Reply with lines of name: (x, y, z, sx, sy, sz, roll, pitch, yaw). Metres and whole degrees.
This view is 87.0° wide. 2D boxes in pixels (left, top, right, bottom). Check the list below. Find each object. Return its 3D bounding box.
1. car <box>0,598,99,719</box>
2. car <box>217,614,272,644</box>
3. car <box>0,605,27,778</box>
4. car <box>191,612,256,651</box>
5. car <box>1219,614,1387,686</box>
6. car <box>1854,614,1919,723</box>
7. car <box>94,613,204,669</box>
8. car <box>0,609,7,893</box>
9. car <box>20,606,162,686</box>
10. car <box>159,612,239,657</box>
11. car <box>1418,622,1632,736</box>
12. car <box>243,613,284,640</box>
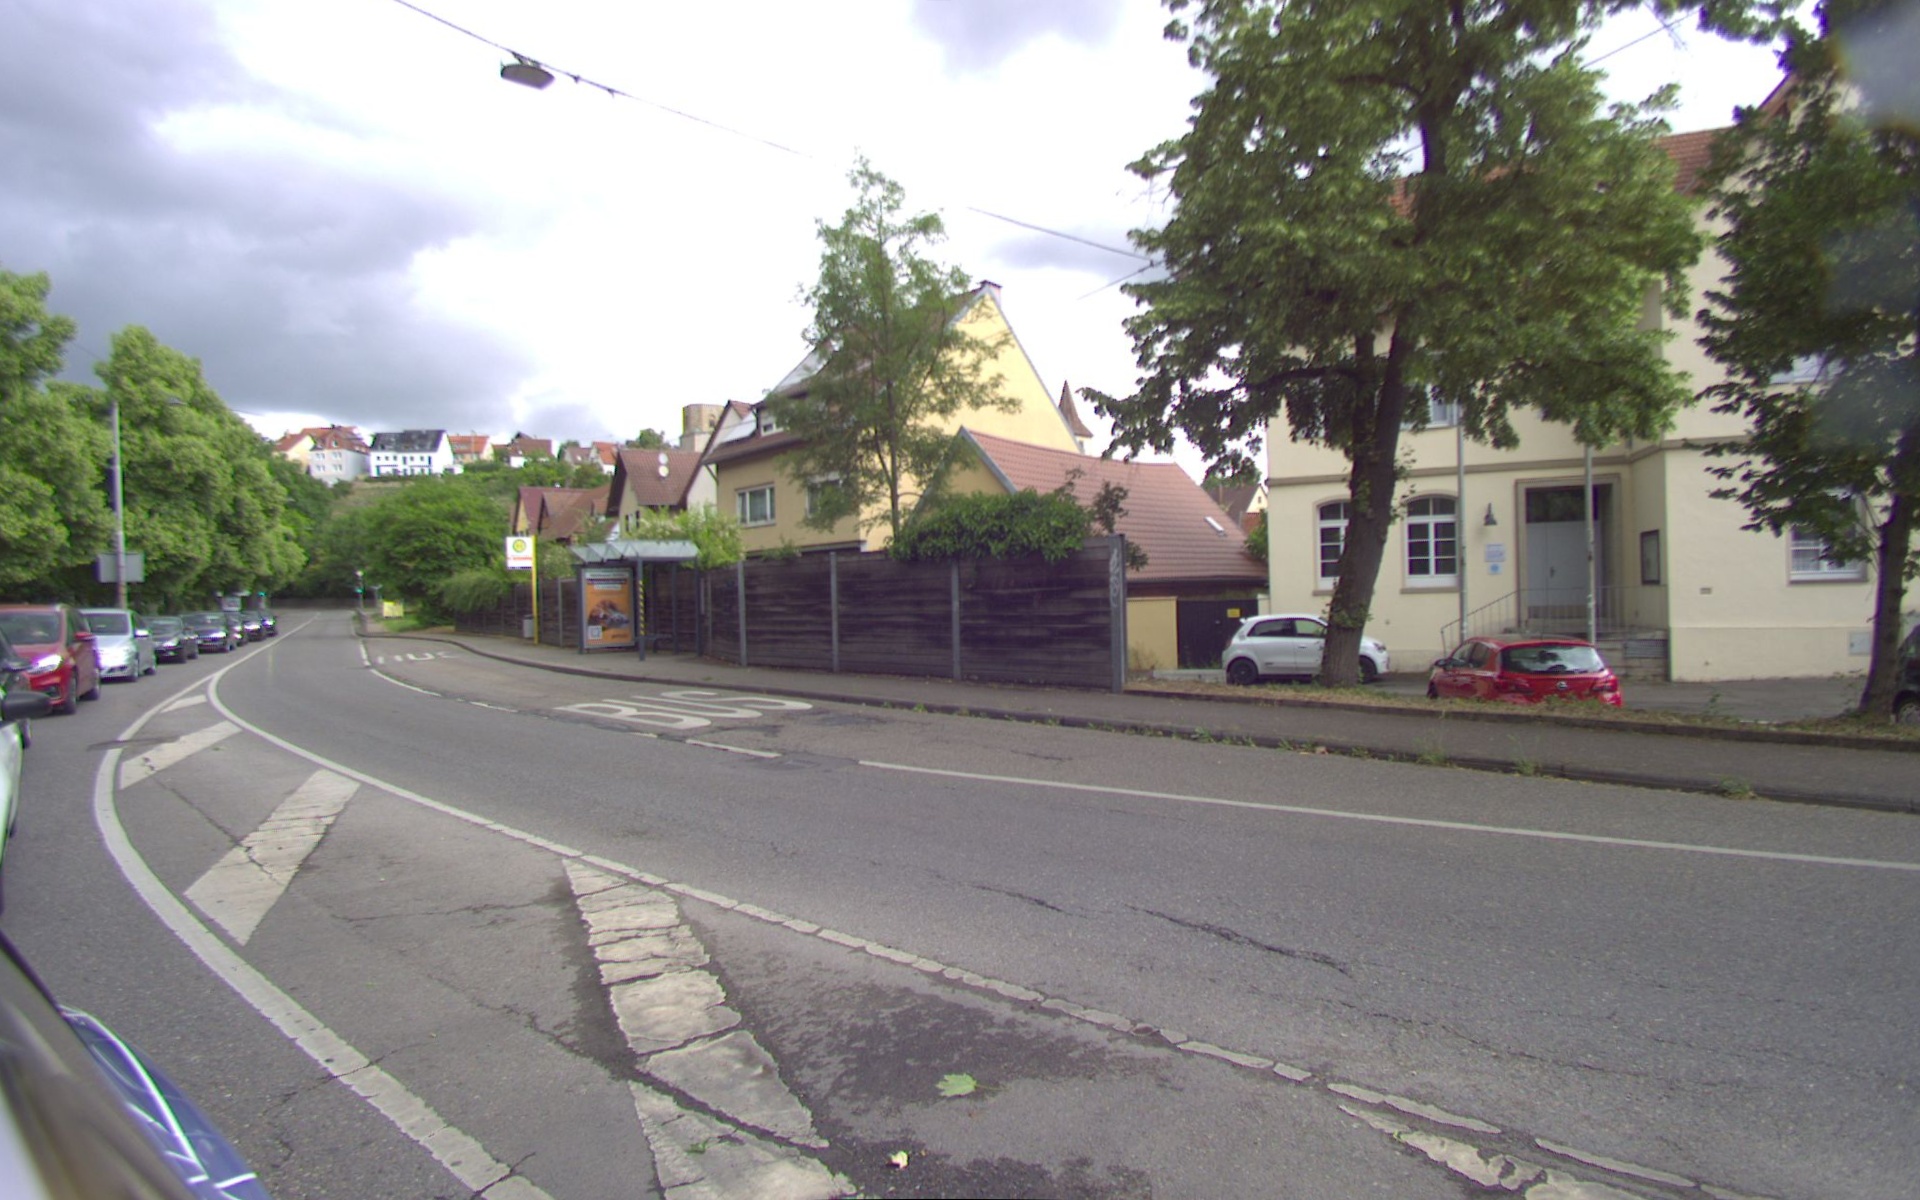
car: (-14.452, 0.826, 15.465, 1.649, 1.654, 4.110, -1, 0, -36)
car: (-32.804, 1.313, 46.467, 1.617, 1.278, 3.637, -1, 0, -29)
car: (-10.408, 0.837, 9.977, 1.705, 1.532, 4.005, -1, 0, -42)
car: (-30.029, 1.237, 41.367, 1.679, 1.457, 3.879, -1, 0, -29)
car: (7.707, 1.104, 22.902, 3.454, 1.503, 1.643, -1, 0, 19)
car: (12.537, 0.858, 11.763, 1.465, 1.320, 3.394, -1, 0, 6)
car: (-23.608, 1.126, 29.620, 1.823, 1.468, 4.013, -1, 0, -29)
car: (-6.184, 0.817, 5.359, 1.604, 1.519, 4.004, -1, 0, -43)
car: (-19.013, 0.931, 22.313, 1.754, 1.580, 4.012, -1, 0, -32)
car: (-26.623, 1.160, 35.535, 1.669, 1.422, 3.994, -1, 0, -29)
car: (8.101, 1.062, 14.873, 1.582, 1.363, 3.619, -1, 0, 10)
car: (-35.903, 1.343, 52.229, 1.396, 1.259, 3.306, -1, 0, -29)
